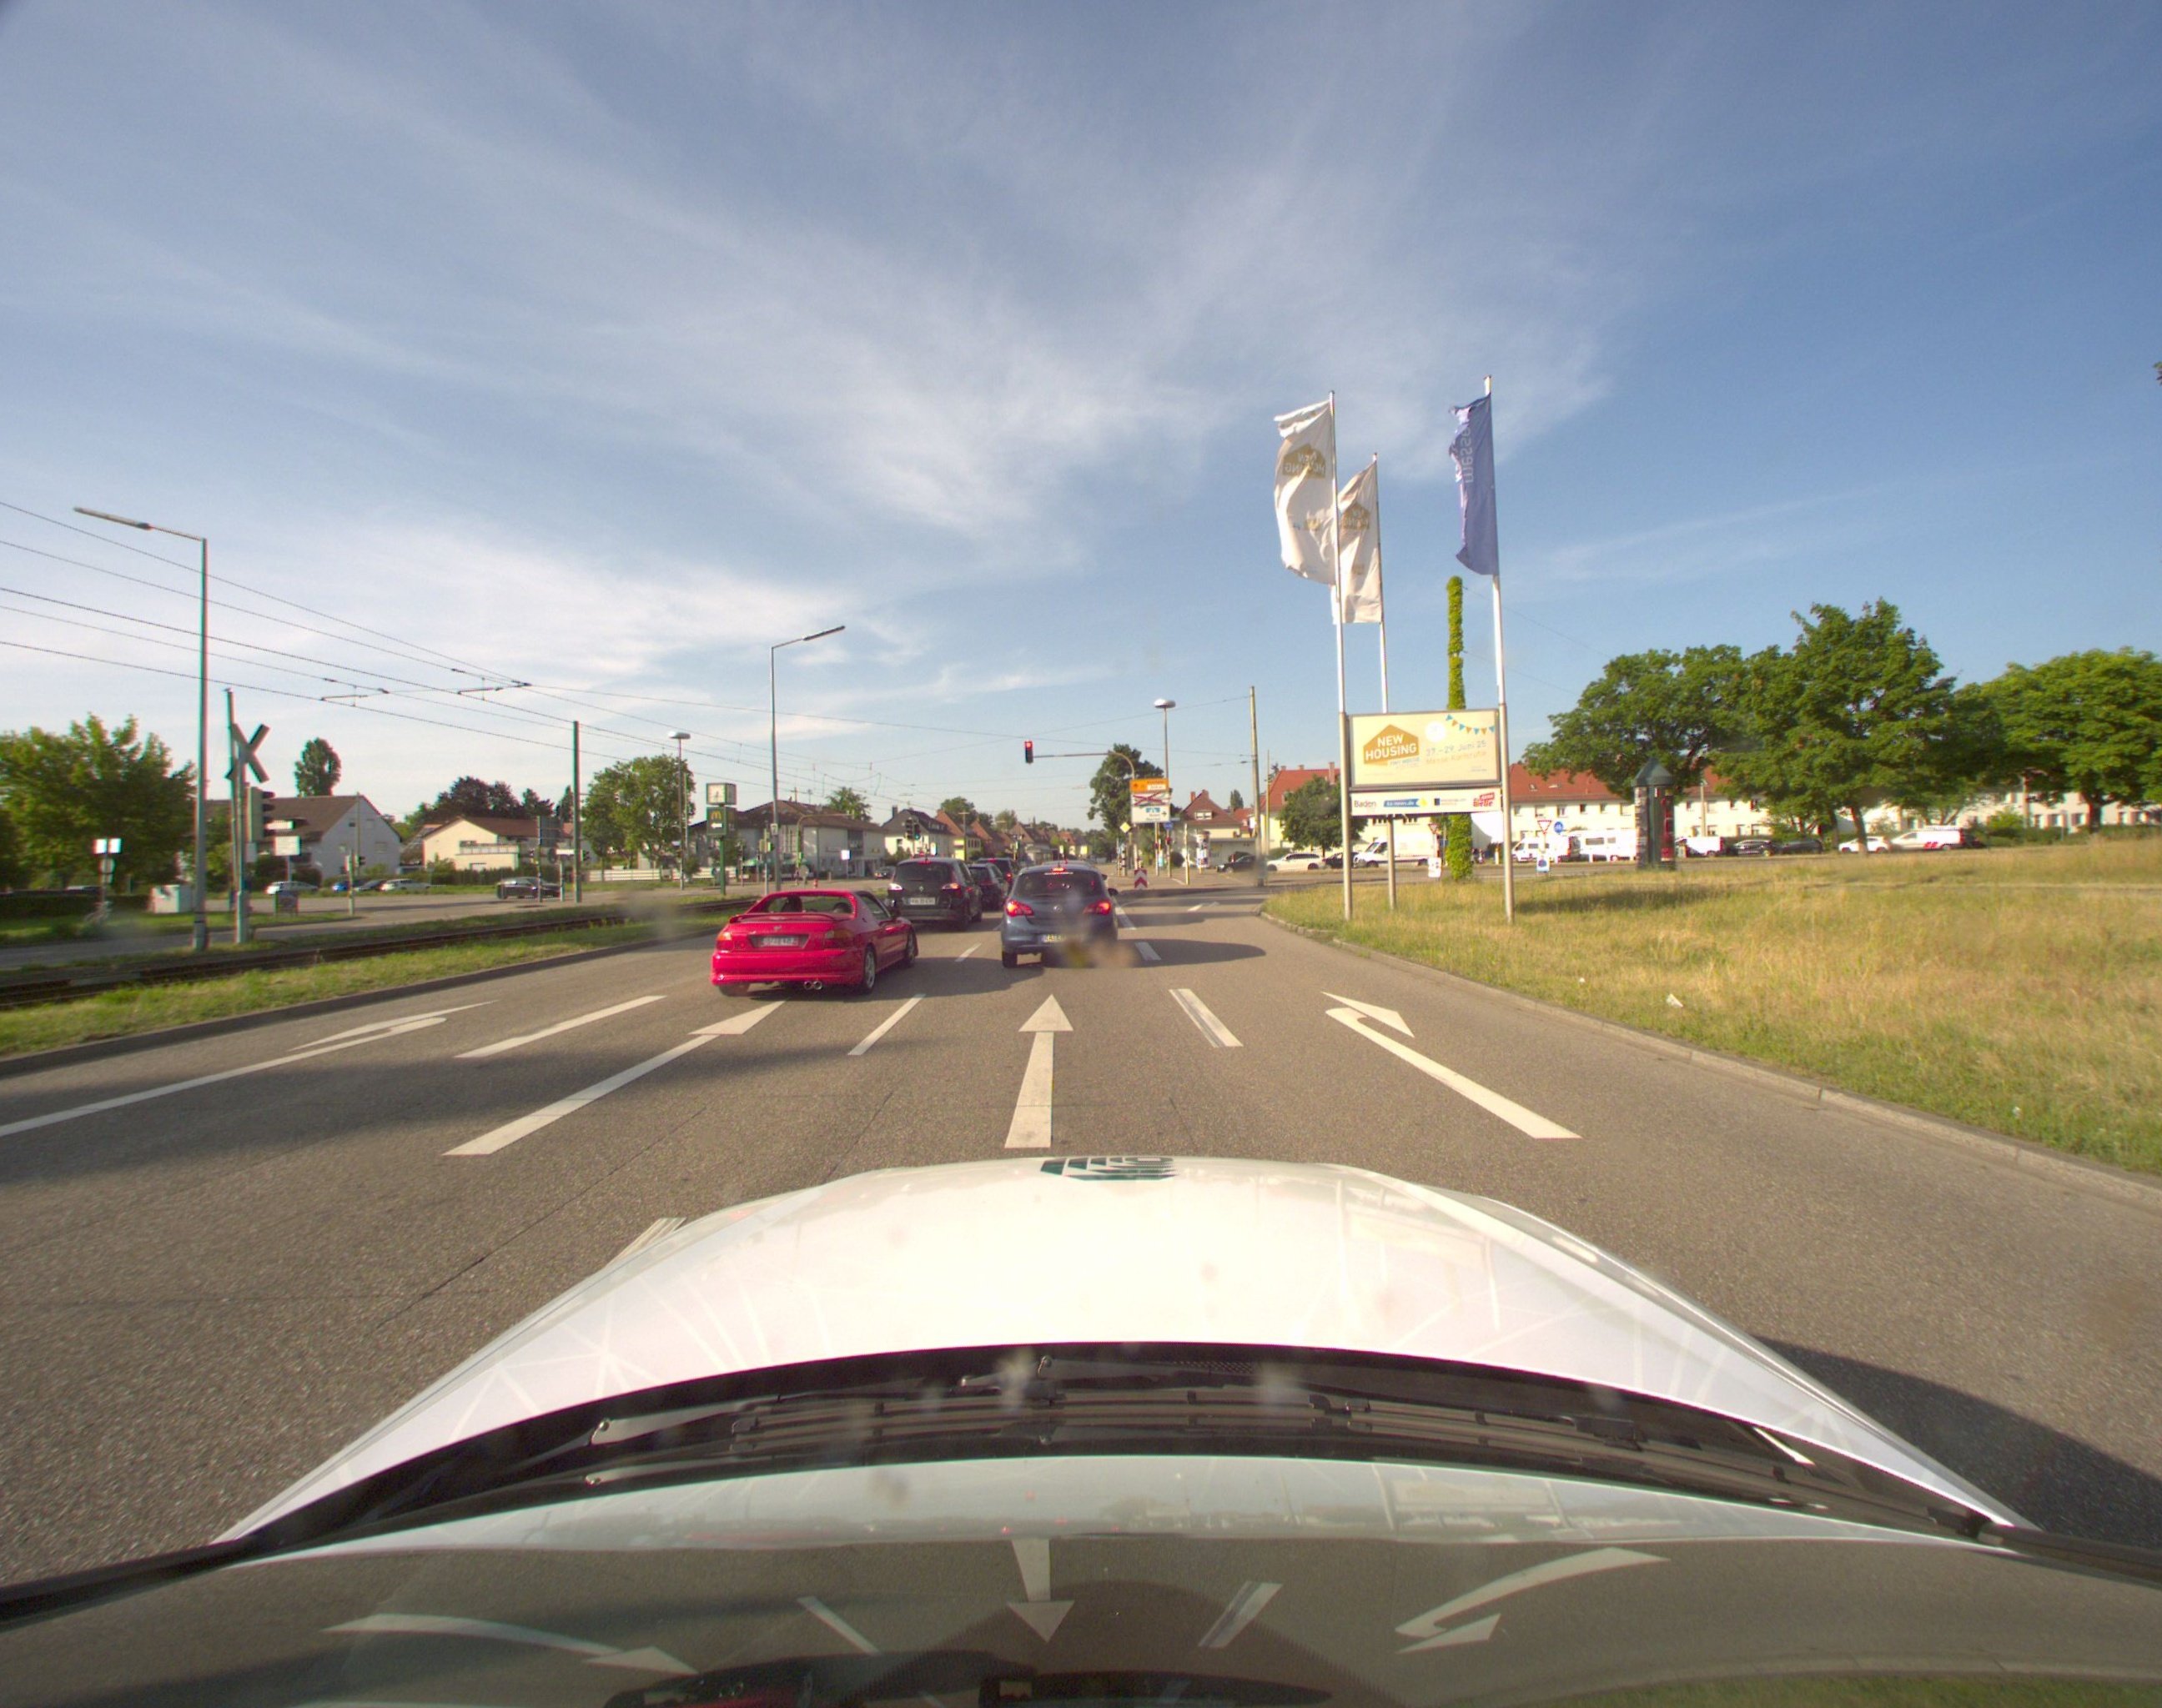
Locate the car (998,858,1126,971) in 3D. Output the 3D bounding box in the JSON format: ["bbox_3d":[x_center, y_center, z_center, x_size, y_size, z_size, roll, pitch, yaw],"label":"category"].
[{"bbox_3d":[-0.285,0.848,13.367,1.736,1.505,4.221,-1,0,-1],"label":"car"}]

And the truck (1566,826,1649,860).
[{"bbox_3d":[47.920,-0.935,74.224,1.907,2.854,6.003,-1,-1,-44],"label":"truck"}]

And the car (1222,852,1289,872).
[{"bbox_3d":[13.344,0.603,62.362,4.805,1.411,1.717,-2,-1,2],"label":"car"}]

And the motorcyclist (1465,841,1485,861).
[{"bbox_3d":[27.924,-0.194,57.668,1.062,1.352,0.680,-2,-1,1],"label":"motorcyclist"}]

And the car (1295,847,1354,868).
[{"bbox_3d":[18.550,0.288,62.073,3.971,1.453,1.717,-2,-1,2],"label":"car"}]

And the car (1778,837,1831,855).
[{"bbox_3d":[66.810,-0.746,75.202,1.906,1.514,3.392,-1,-1,-40],"label":"car"}]

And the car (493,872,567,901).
[{"bbox_3d":[-37.135,2.197,54.950,3.970,1.793,1.521,-2,-1,3],"label":"car"}]

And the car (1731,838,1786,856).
[{"bbox_3d":[61.357,-0.627,73.773,1.906,1.514,3.458,-1,-1,-40],"label":"car"}]

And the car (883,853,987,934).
[{"bbox_3d":[-3.301,0.849,19.189,1.758,1.671,4.082,-1,0,-1],"label":"car"}]

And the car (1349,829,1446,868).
[{"bbox_3d":[22.707,-0.367,58.604,6.184,2.583,2.001,-2,-1,2],"label":"car"}]

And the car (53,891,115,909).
[{"bbox_3d":[-94.340,4.342,77.060,3.962,1.486,2.006,-2,0,10],"label":"car"}]

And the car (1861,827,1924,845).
[{"bbox_3d":[88.946,-1.934,89.327,1.986,1.719,4.980,-2,-1,1],"label":"car"}]

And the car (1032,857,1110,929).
[{"bbox_3d":[-0.244,0.884,20.164,1.701,1.552,3.976,-2,0,-1],"label":"car"}]

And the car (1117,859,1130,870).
[{"bbox_3d":[5.630,1.431,107.067,1.668,1.398,4.002,0,-1,2],"label":"car"}]

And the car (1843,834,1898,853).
[{"bbox_3d":[71.423,-0.931,73.682,1.906,1.514,3.392,-1,-1,-40],"label":"car"}]

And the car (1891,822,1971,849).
[{"bbox_3d":[77.273,-1.659,74.099,2.012,2.232,4.918,-1,-1,-44],"label":"car"}]

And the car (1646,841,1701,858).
[{"bbox_3d":[54.263,-0.390,74.621,3.859,1.456,1.908,-2,-1,43],"label":"car"}]

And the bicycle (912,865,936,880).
[{"bbox_3d":[-14.311,1.725,74.203,2.072,1.348,1.105,0,-1,-8],"label":"bicycle"}]

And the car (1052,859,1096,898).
[{"bbox_3d":[-0.264,0.958,33.266,1.651,1.443,4.013,-2,0,0],"label":"car"}]

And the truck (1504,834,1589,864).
[{"bbox_3d":[41.994,-0.407,73.578,2.286,2.524,6.291,-1,0,-33],"label":"truck"}]

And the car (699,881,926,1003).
[{"bbox_3d":[-3.241,1.007,10.668,1.726,1.206,3.845,0,0,-1],"label":"car"}]

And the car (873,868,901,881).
[{"bbox_3d":[-21.935,2.281,92.261,1.654,1.346,4.085,-2,-1,7],"label":"car"}]

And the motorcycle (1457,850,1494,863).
[{"bbox_3d":[27.939,0.195,57.667,2.263,0.866,0.691,-2,-1,0],"label":"motorcycle"}]

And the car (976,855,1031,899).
[{"bbox_3d":[-3.115,0.899,33.595,1.500,1.651,4.748,-2,0,4],"label":"car"}]

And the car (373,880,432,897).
[{"bbox_3d":[-68.247,3.448,81.988,1.982,1.684,4.229,0,-1,8],"label":"car"}]

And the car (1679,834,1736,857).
[{"bbox_3d":[57.417,-0.787,74.712,1.907,1.920,3.861,-1,-1,-44],"label":"car"}]

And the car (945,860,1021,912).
[{"bbox_3d":[-3.090,0.961,26.583,1.693,1.508,4.556,-1,0,3],"label":"car"}]

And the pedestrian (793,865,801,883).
[{"bbox_3d":[-26.137,1.863,74.947,0.511,1.599,0.539,-1,-1,-5],"label":"pedestrian"}]

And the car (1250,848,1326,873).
[{"bbox_3d":[14.872,0.473,58.694,5.074,1.563,1.841,-2,-1,2],"label":"car"}]

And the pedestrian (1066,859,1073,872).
[{"bbox_3d":[-1.300,1.277,93.994,0.749,1.499,0.828,0,-1,4],"label":"pedestrian"}]

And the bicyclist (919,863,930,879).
[{"bbox_3d":[-14.265,1.570,74.204,0.883,1.431,1.134,0,-1,-7],"label":"bicyclist"}]
